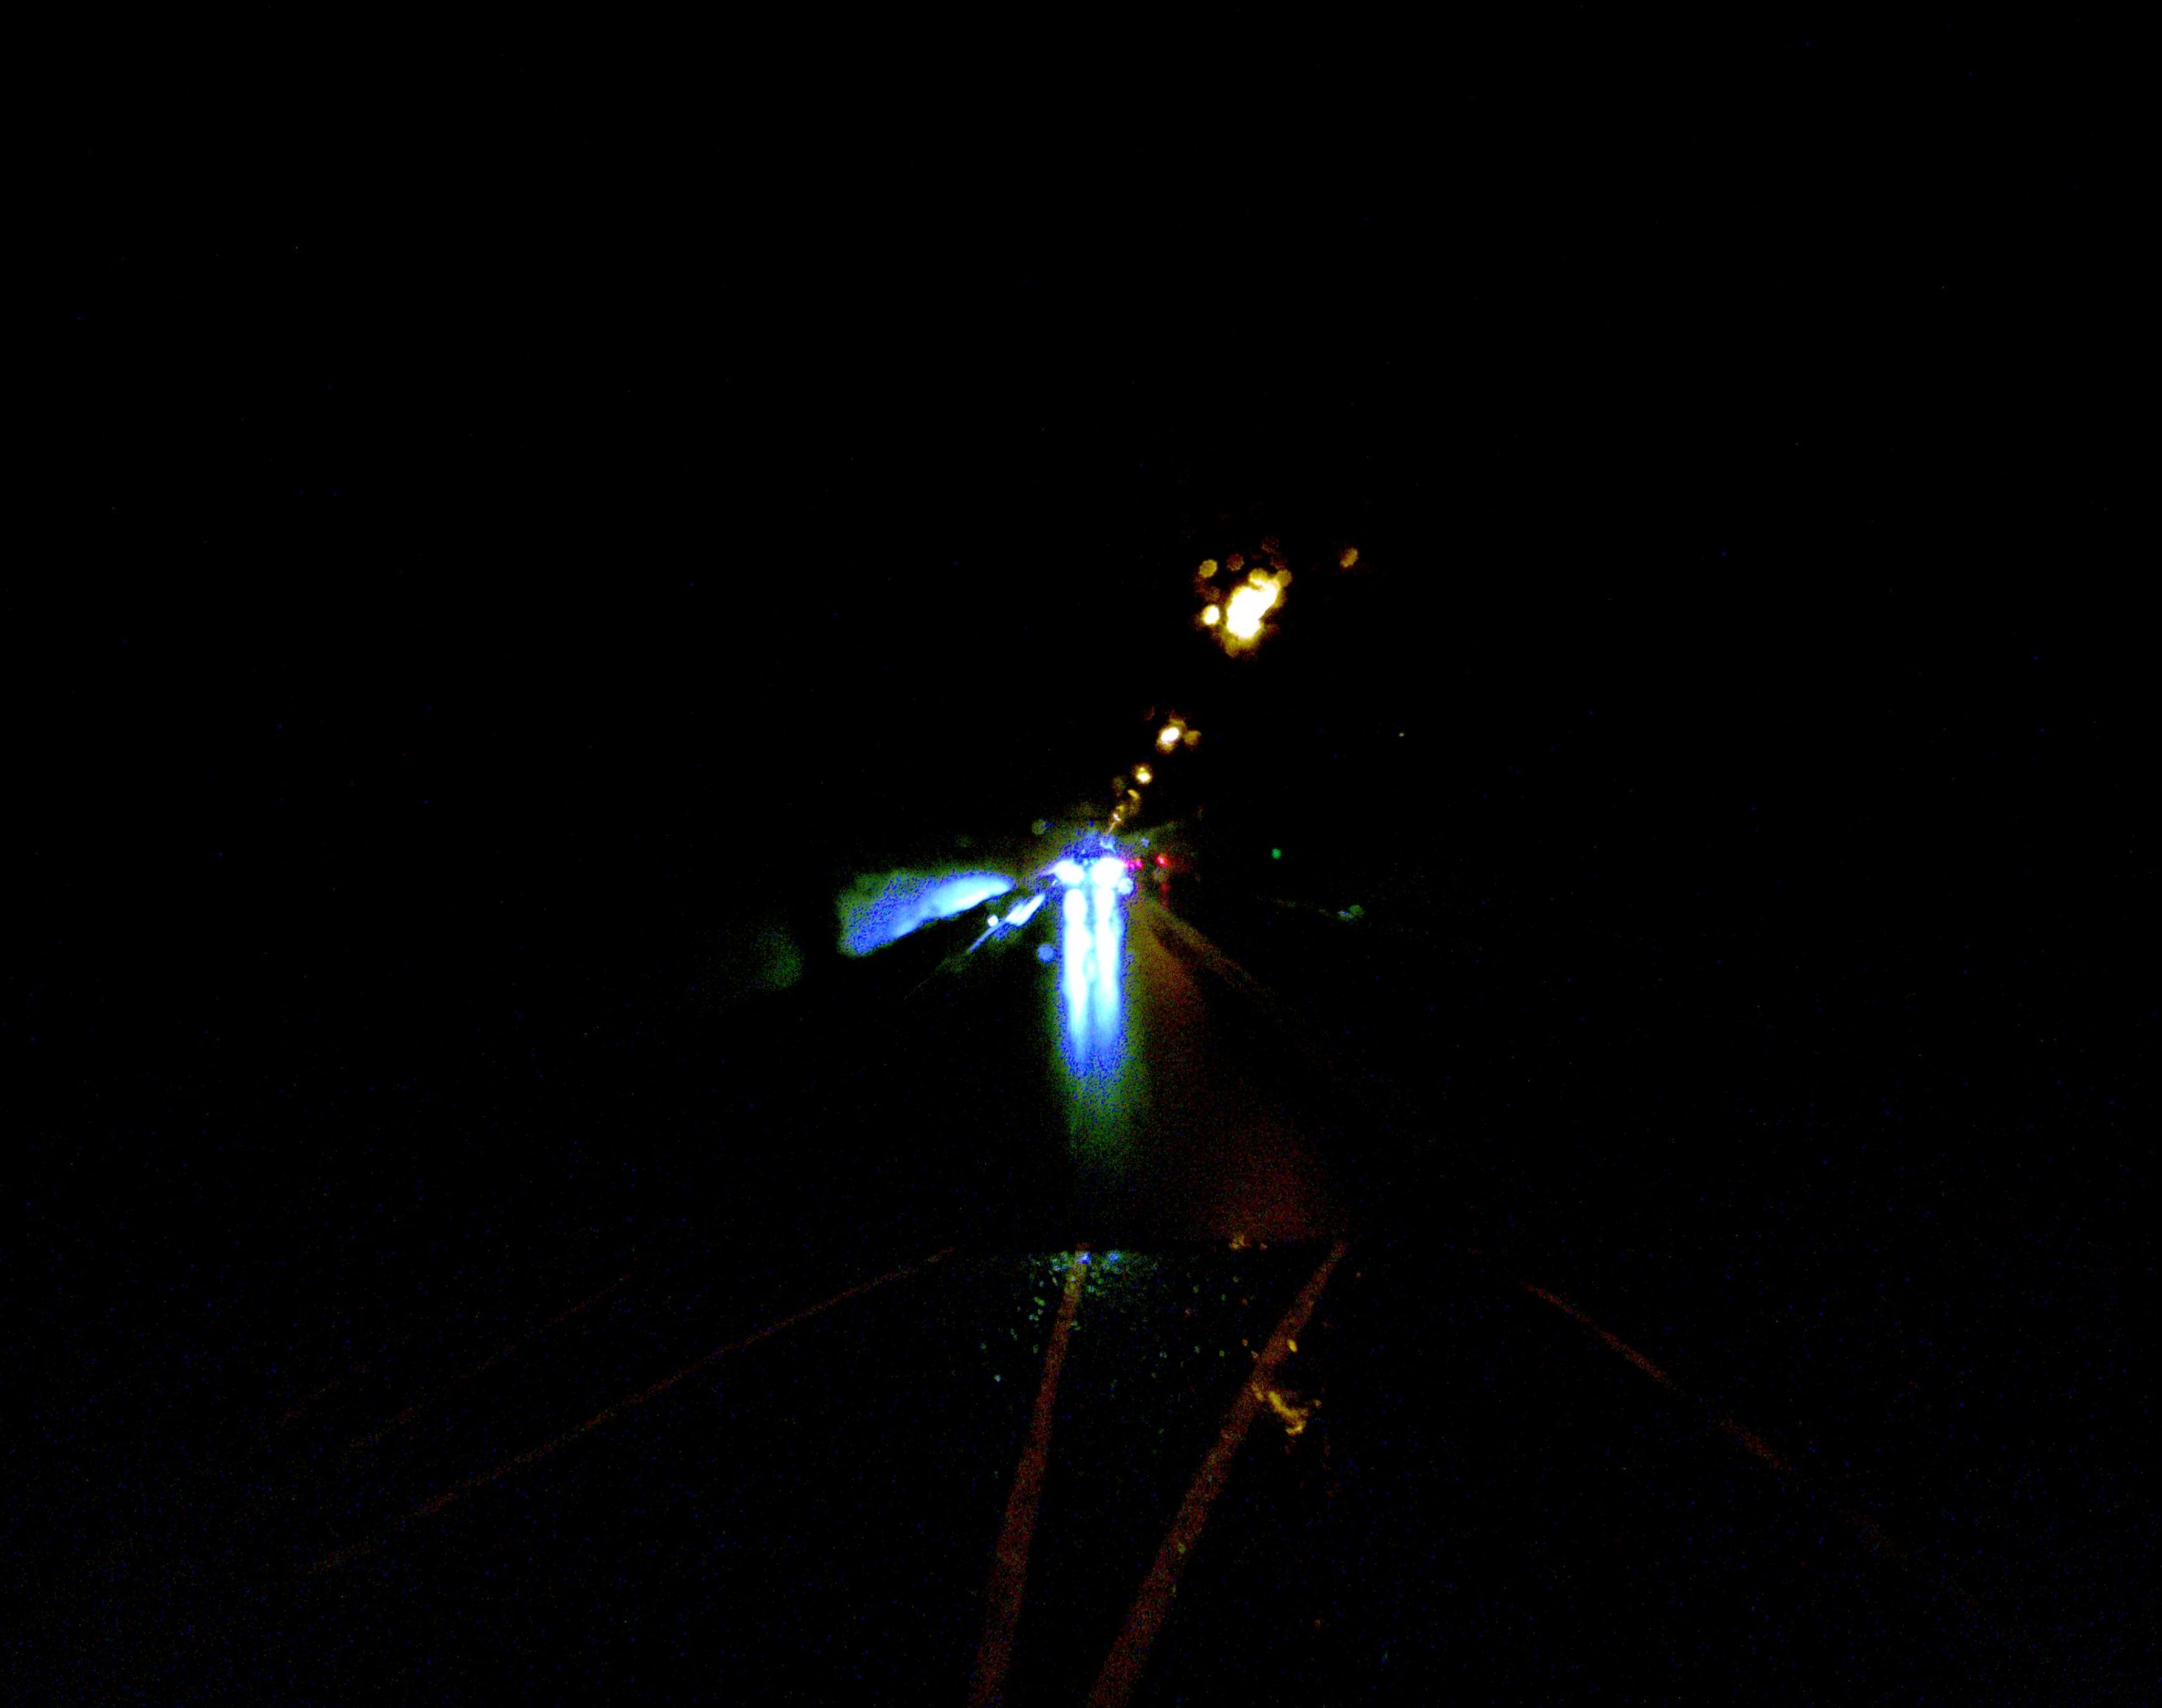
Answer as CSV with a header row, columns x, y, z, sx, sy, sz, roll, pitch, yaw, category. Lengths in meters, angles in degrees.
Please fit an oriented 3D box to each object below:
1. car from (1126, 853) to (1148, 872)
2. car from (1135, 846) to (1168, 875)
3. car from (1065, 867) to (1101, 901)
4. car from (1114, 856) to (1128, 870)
x,y,z,sx,sy,sz,roll,pitch,yaw,category
5.180,0.717,70.282,1.785,1.666,4.561,-1,0,1,car
4.459,0.400,48.365,1.918,1.718,4.001,-1,0,3,car
0.141,1.412,37.001,1.627,1.487,3.585,-1,0,1,car
5.641,1.252,107.445,1.785,1.917,5.138,-1,0,1,car
